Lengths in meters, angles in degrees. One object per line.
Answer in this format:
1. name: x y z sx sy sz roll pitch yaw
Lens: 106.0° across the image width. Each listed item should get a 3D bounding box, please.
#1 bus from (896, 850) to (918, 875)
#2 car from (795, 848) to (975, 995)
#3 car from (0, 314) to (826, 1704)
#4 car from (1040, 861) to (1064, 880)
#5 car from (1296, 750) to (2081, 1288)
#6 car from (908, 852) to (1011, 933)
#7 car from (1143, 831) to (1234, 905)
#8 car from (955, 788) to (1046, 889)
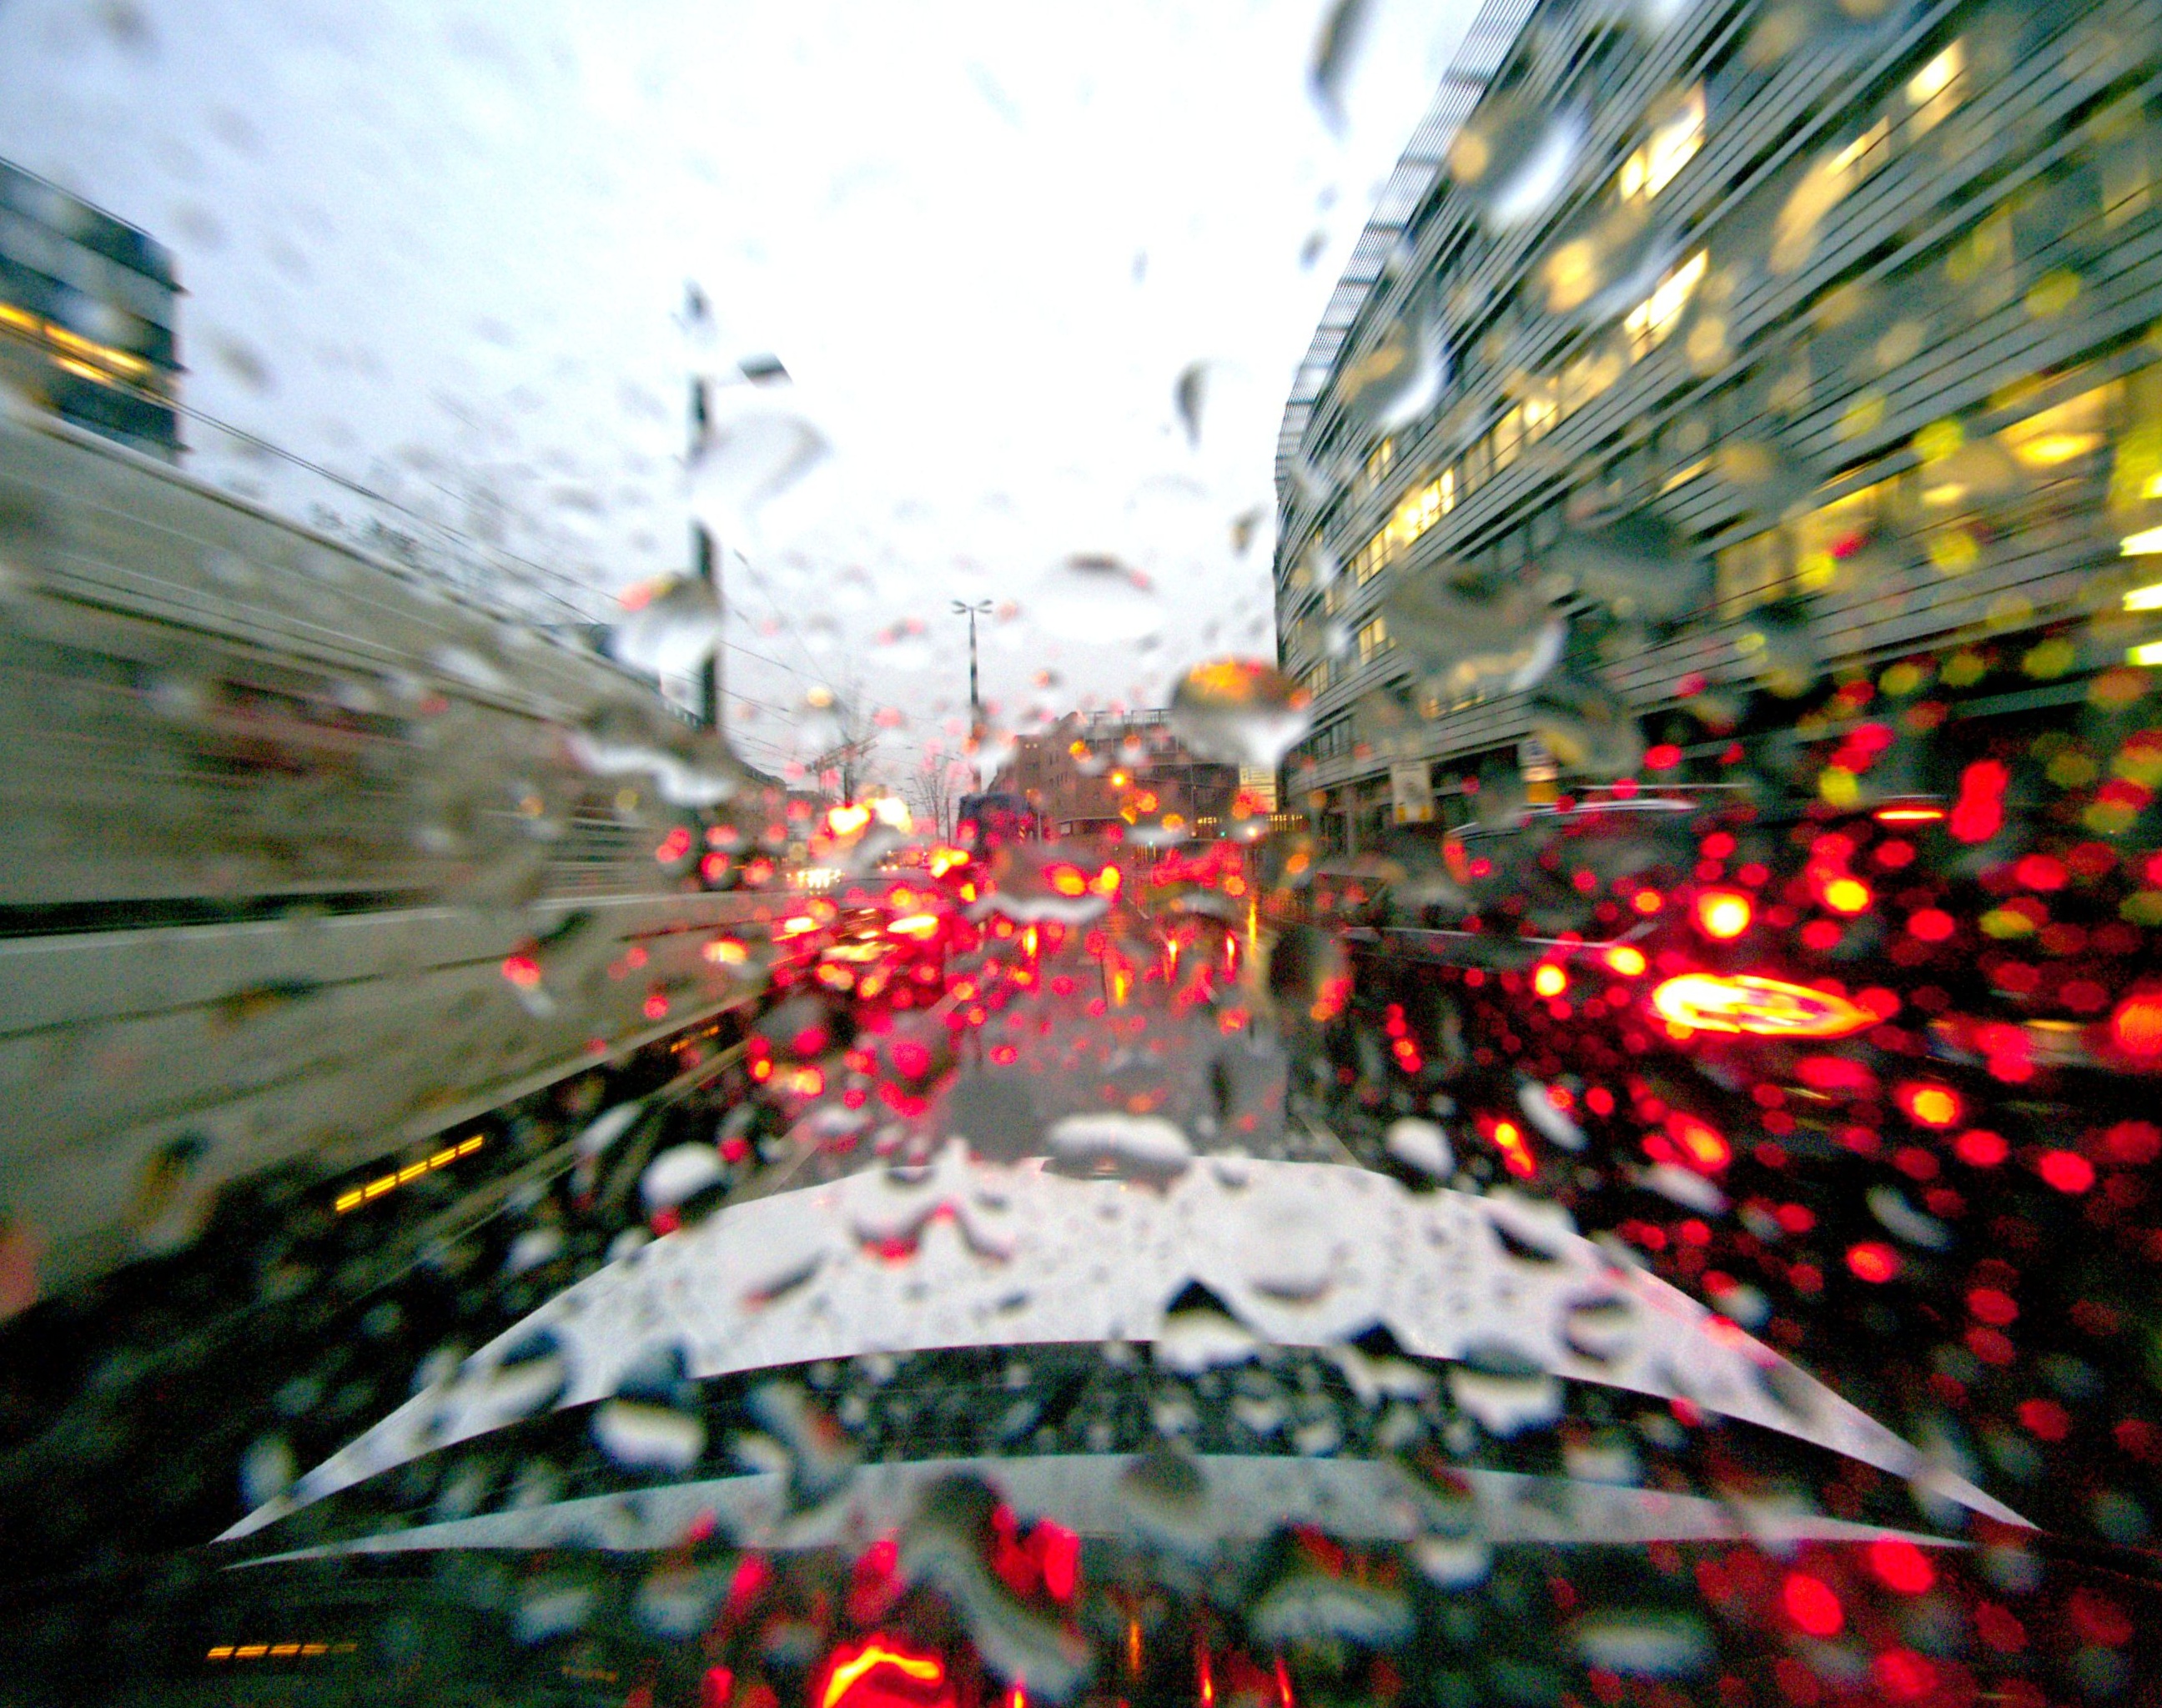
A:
1. bus: -25.253 1.259 118.497 2.825 3.372 7.968 -1 0 -11
2. car: -2.316 0.747 10.429 1.514 1.520 3.467 -2 -1 -2
3. car: -2.984 0.289 3.624 1.989 2.427 5.968 -2 0 -3
4. car: -2.186 1.255 61.559 1.505 1.306 3.043 -2 0 3
5. car: 2.582 0.568 4.766 1.667 1.779 4.002 -2 0 2
6. car: -2.487 0.751 17.542 1.700 1.508 3.997 -1 0 -2
7. car: 2.903 0.358 22.845 1.838 1.806 4.484 -2 0 -1
8. car: -2.430 -0.414 26.438 2.348 2.827 6.355 -2 0 -1
